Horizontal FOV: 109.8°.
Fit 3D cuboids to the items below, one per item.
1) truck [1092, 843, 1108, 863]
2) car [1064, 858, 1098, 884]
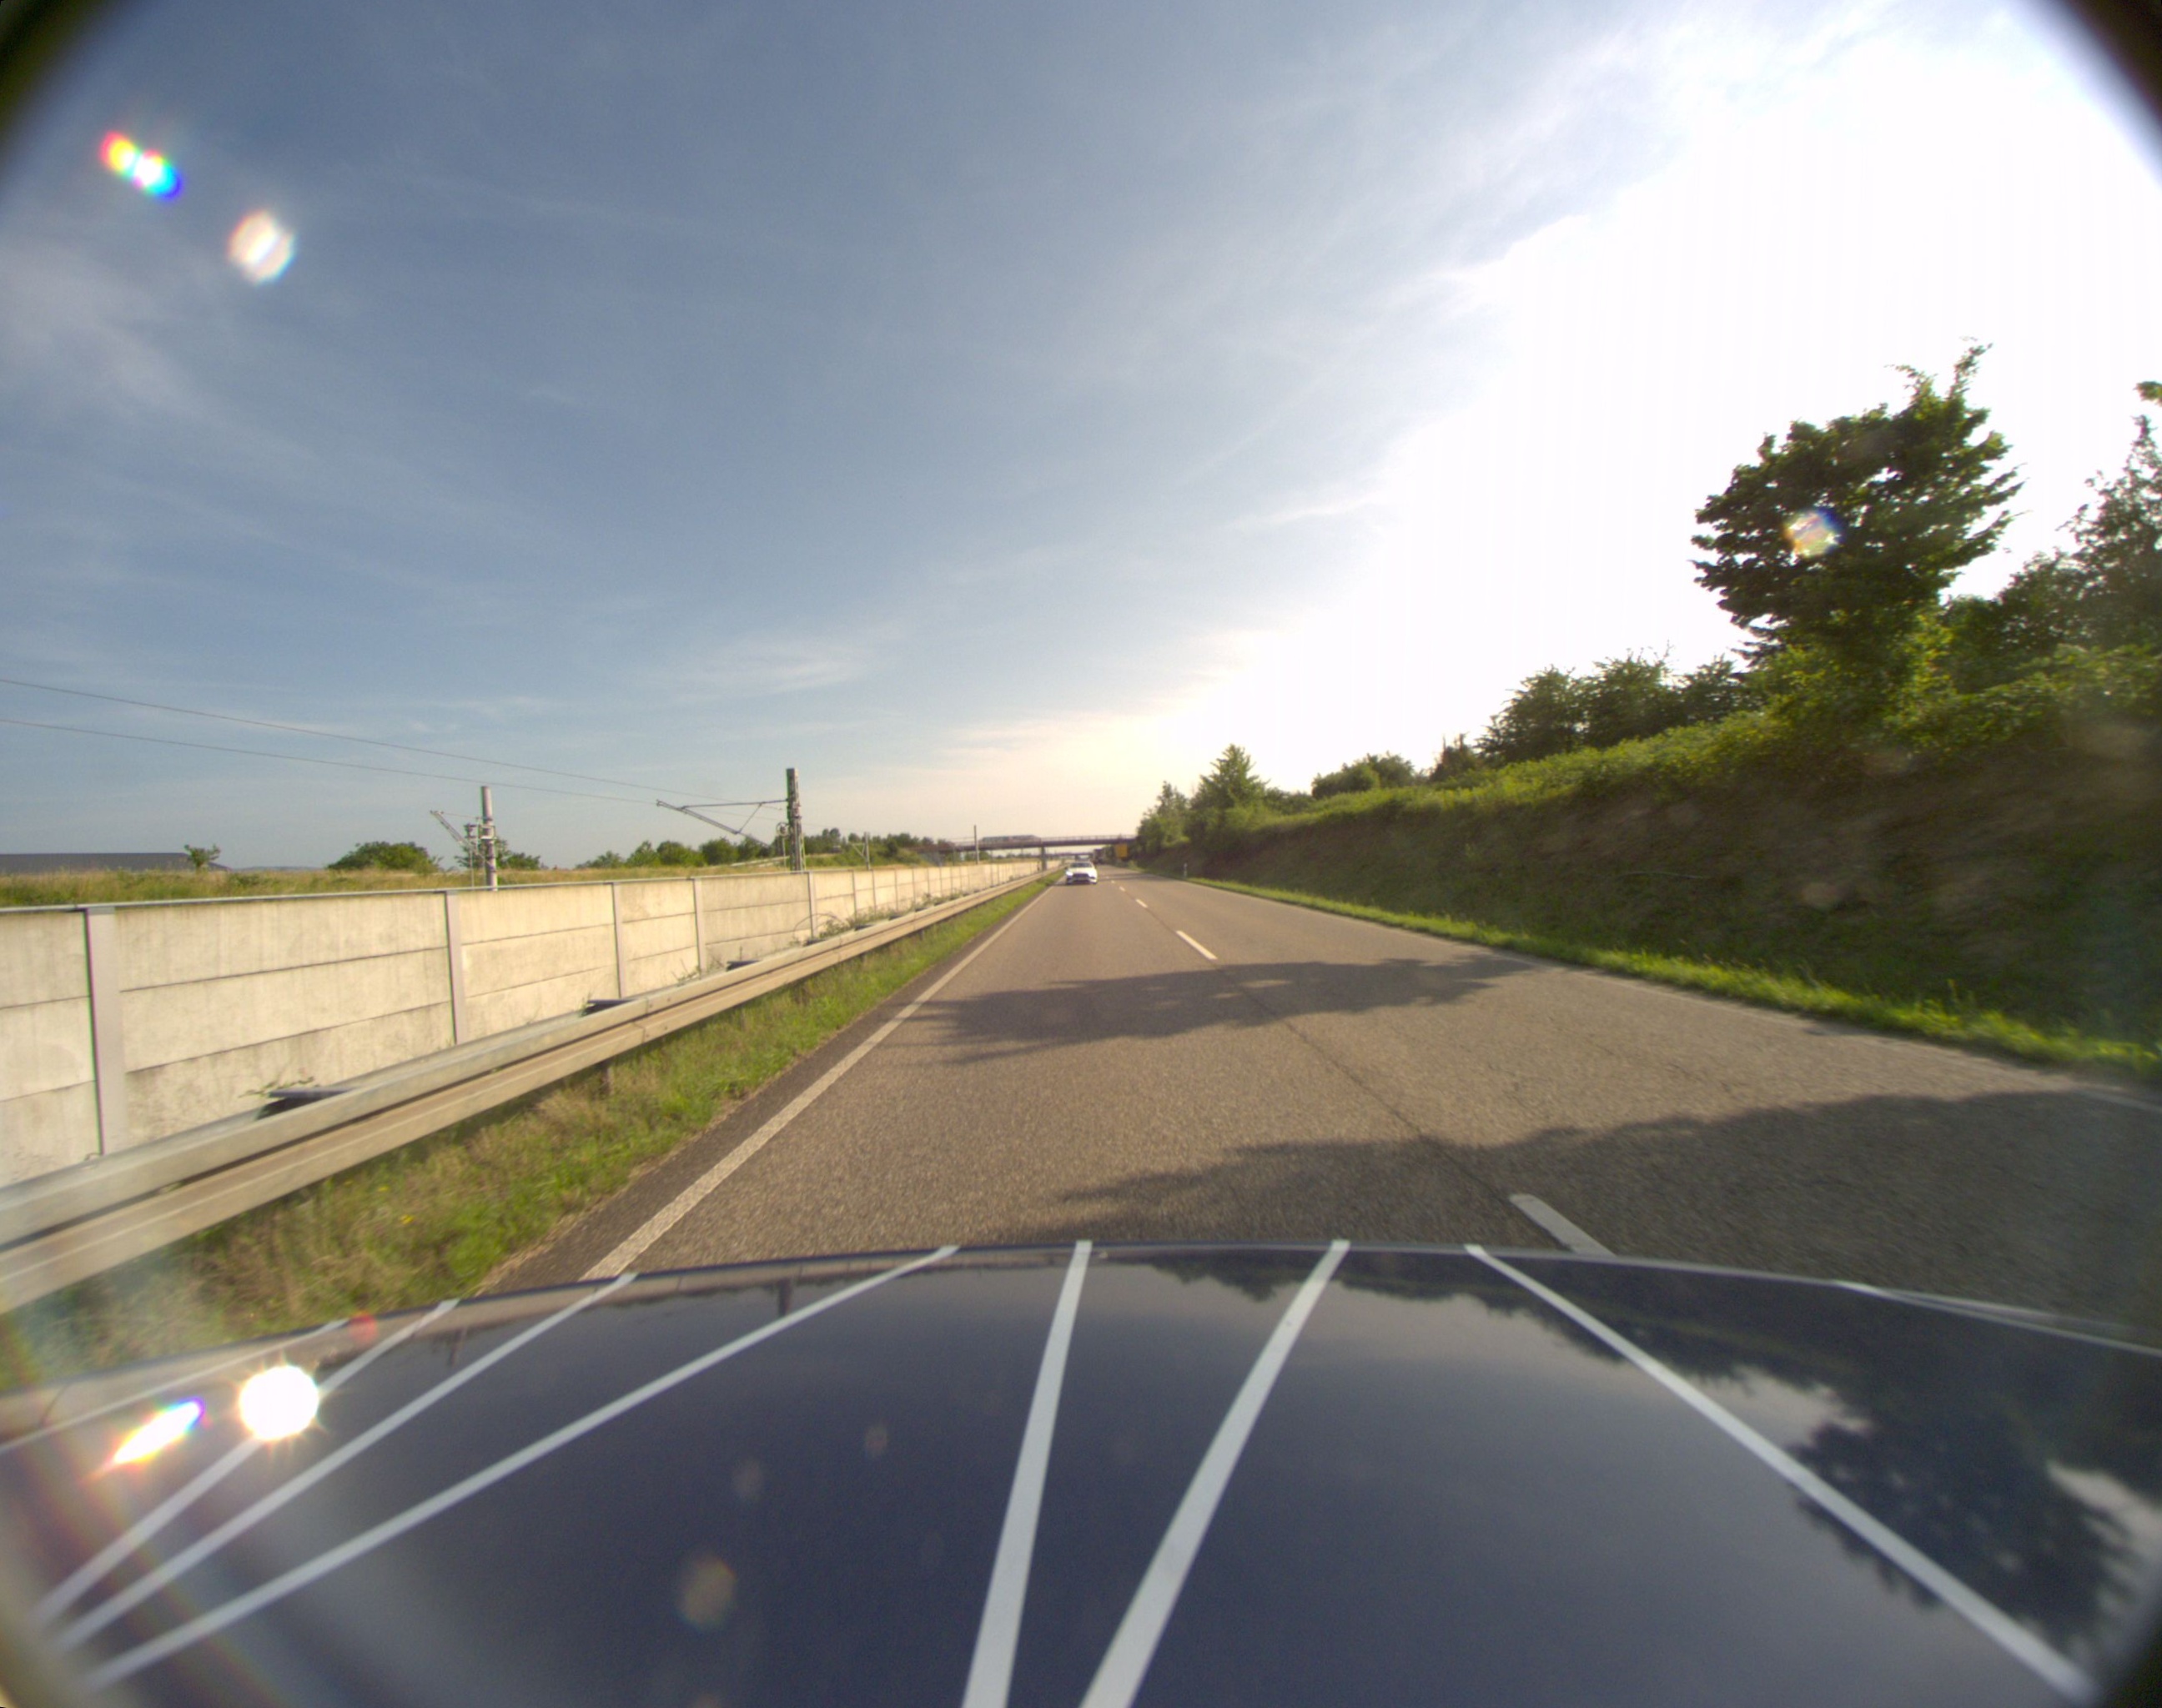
[{"bbox_3d":[4.815,-0.271,198.261,3.792,4.617,19.838,-2,0,1],"label":"truck"},{"bbox_3d":[0.034,1.021,47.239,1.953,1.430,4.612,-2,0,1],"label":"car"}]
